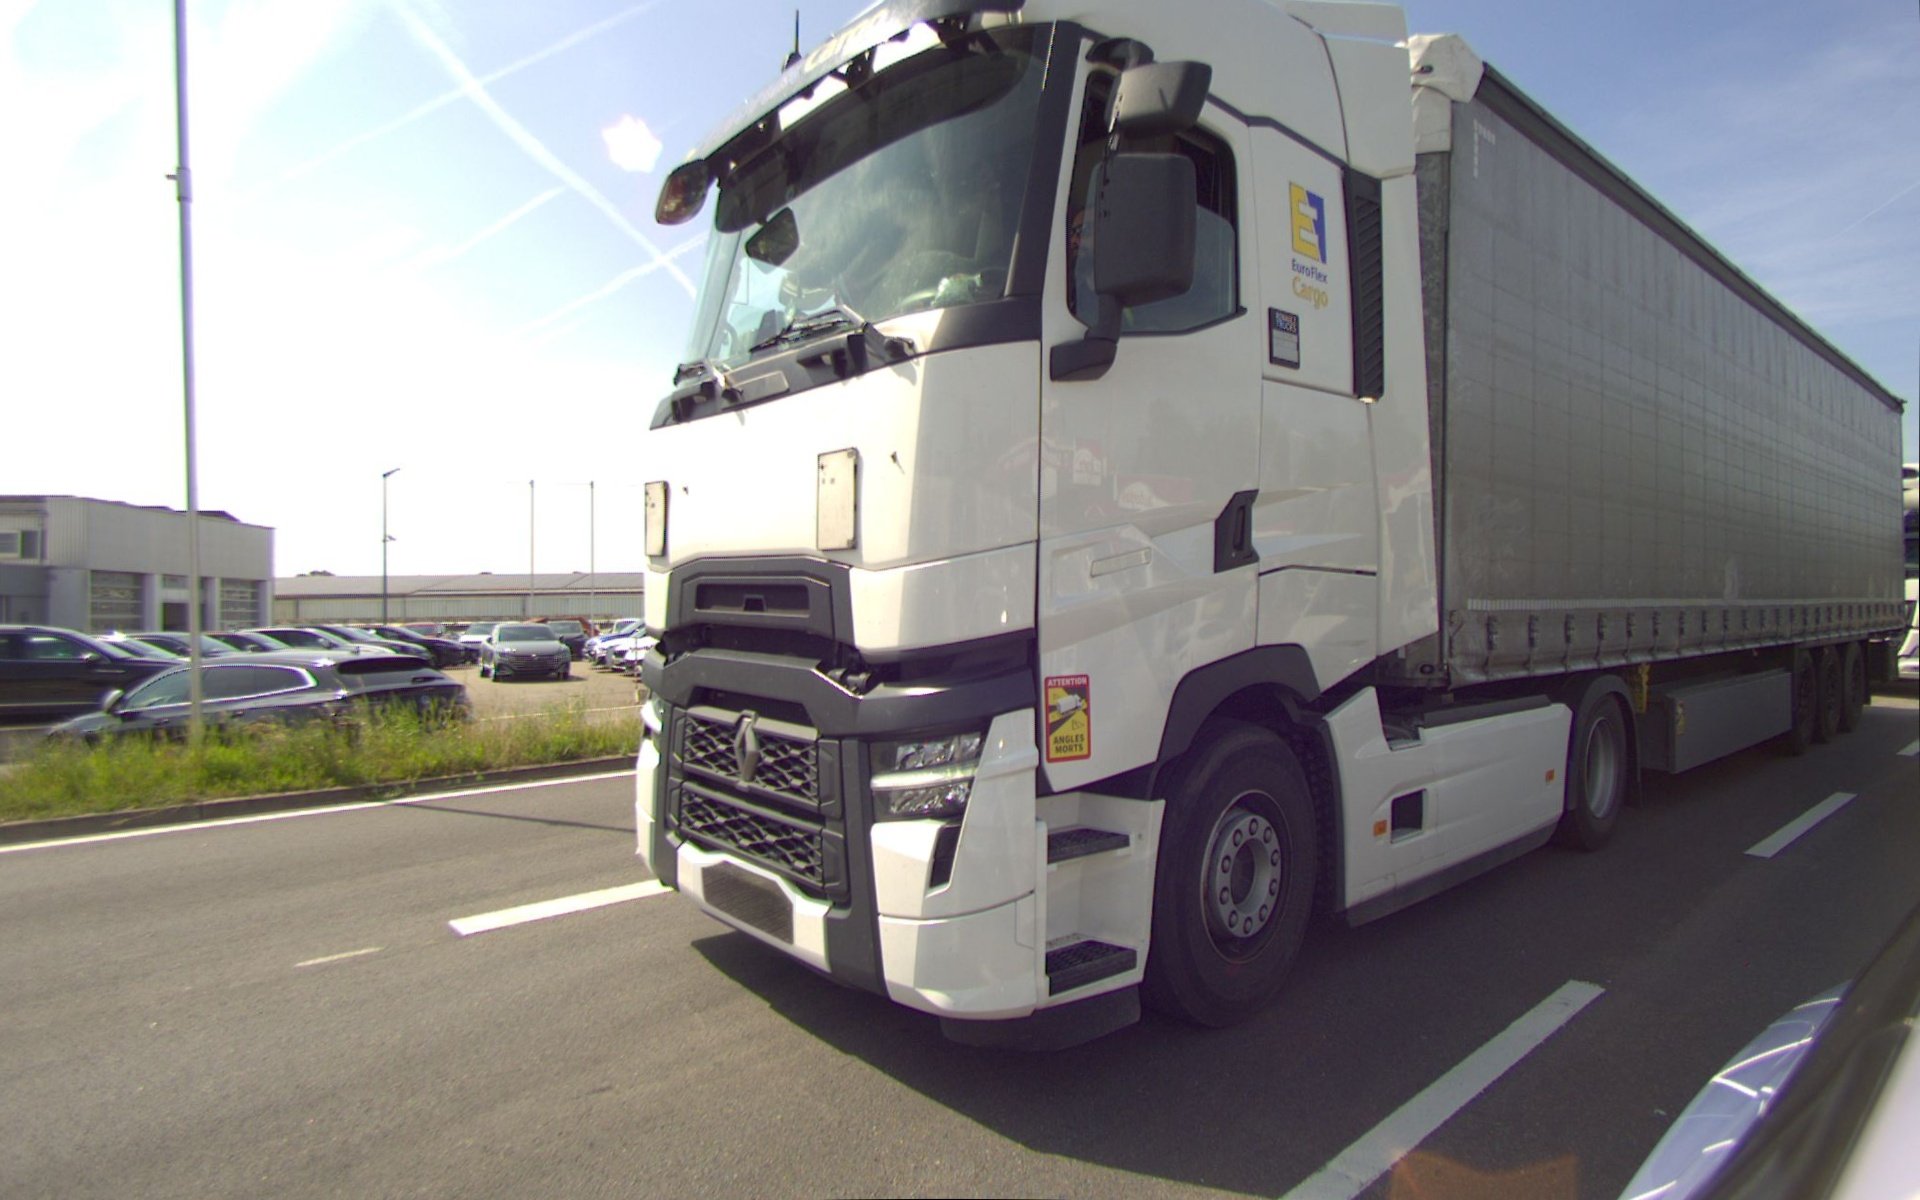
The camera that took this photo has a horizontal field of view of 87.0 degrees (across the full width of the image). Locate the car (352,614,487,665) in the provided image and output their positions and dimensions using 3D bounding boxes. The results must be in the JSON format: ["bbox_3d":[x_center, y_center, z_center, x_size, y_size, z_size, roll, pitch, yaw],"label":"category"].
[{"bbox_3d":[-20.144,1.442,37.920,4.143,1.777,1.911,-1,-1,-15],"label":"car"}]

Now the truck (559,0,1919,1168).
[{"bbox_3d":[5.332,-0.825,8.879,16.412,4.320,2.896,0,0,-40],"label":"truck"}]

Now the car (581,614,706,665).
[{"bbox_3d":[-10.156,1.217,32.604,3.531,1.427,1.562,-1,2,-39],"label":"car"}]

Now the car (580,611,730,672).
[{"bbox_3d":[-8.991,1.169,29.941,3.896,1.638,1.708,0,-1,-38],"label":"car"}]

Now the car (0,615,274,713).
[{"bbox_3d":[-16.861,1.236,20.855,4.143,1.812,1.987,0,-1,-20],"label":"car"}]

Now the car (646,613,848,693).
[{"bbox_3d":[-4.958,1.157,23.775,4.203,1.678,1.998,0,-1,-38],"label":"car"}]

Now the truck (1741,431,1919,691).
[{"bbox_3d":[18.080,-0.618,19.022,10.940,3.859,2.886,0,0,-39],"label":"truck"}]

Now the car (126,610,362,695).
[{"bbox_3d":[-16.657,1.175,23.804,4.143,1.812,1.987,0,-1,-20],"label":"car"}]

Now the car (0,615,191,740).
[{"bbox_3d":[-14.645,1.169,15.811,4.156,1.812,1.981,0,-1,-39],"label":"car"}]

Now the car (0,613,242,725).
[{"bbox_3d":[-15.537,1.177,18.238,4.156,1.812,1.981,0,-1,-39],"label":"car"}]

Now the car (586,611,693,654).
[{"bbox_3d":[-13.306,1.308,42.088,3.896,1.638,1.708,0,-1,-38],"label":"car"}]

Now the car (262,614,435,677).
[{"bbox_3d":[-18.531,1.341,30.870,4.143,1.777,1.911,0,-1,-15],"label":"car"}]

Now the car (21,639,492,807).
[{"bbox_3d":[-7.179,1.136,10.388,4.288,1.420,1.729,-1,-1,17],"label":"car"}]

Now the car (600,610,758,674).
[{"bbox_3d":[-7.793,1.118,28.203,3.896,1.638,1.708,0,-1,-38],"label":"car"}]

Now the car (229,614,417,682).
[{"bbox_3d":[-17.983,1.318,28.780,4.143,1.777,1.911,0,-1,-15],"label":"car"}]

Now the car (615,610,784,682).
[{"bbox_3d":[-6.575,1.103,25.663,3.757,1.638,1.857,0,-1,-38],"label":"car"}]

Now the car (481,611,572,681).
[{"bbox_3d":[-11.359,1.130,26.383,1.959,1.638,4.005,0,0,-26],"label":"car"}]

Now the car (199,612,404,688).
[{"bbox_3d":[-17.023,1.247,26.433,4.143,1.812,1.987,0,-1,-20],"label":"car"}]

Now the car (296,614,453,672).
[{"bbox_3d":[-19.176,1.365,33.358,4.143,1.777,1.911,0,-1,-15],"label":"car"}]
